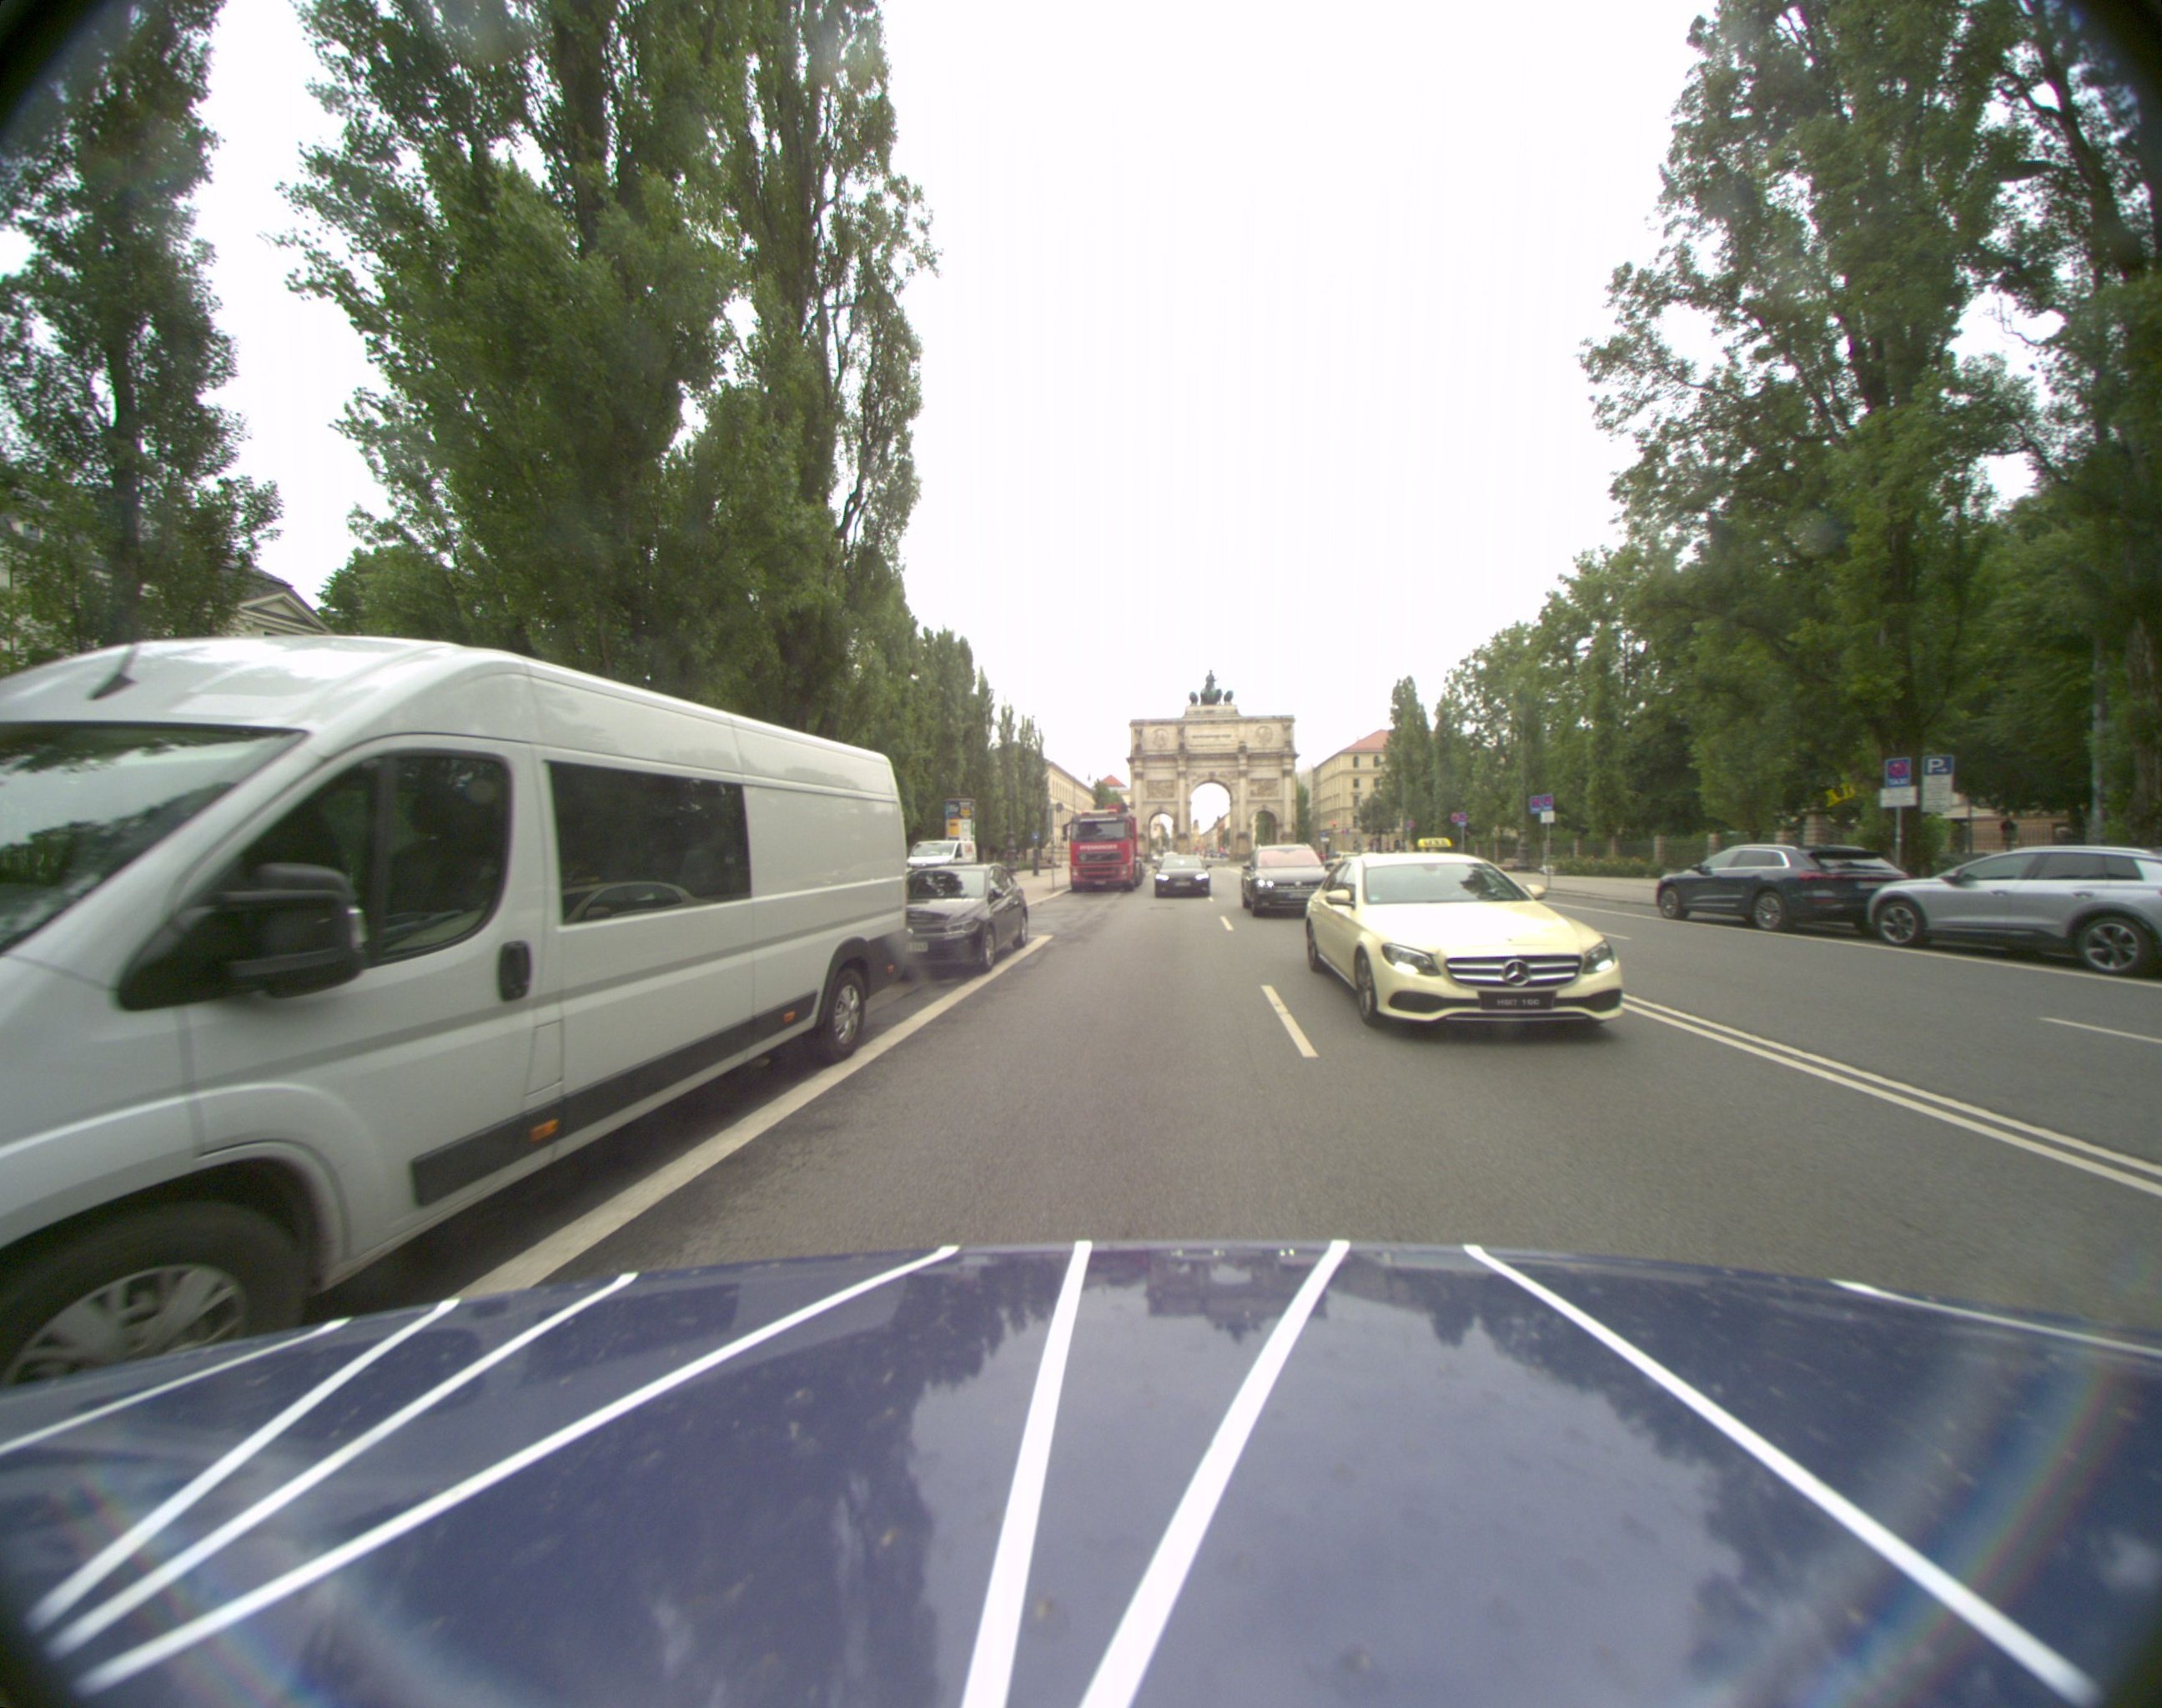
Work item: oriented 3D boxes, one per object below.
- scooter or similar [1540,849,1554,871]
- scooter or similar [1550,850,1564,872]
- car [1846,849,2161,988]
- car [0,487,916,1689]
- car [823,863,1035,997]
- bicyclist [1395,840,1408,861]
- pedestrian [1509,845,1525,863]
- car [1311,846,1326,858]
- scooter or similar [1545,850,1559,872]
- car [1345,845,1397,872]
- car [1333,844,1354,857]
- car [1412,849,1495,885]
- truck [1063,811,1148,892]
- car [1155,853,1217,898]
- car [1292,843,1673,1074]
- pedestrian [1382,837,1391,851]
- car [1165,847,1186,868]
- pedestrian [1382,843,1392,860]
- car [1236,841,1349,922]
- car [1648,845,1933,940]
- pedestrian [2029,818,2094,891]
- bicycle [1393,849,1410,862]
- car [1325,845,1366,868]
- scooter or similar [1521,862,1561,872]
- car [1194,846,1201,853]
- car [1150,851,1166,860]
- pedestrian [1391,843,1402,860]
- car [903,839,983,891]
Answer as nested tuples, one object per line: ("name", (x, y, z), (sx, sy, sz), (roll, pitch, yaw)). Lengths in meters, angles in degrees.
("scooter or similar", (26.807, 0.350, 43.725), (0.258, 1.235, 1.141), (-1, 1, 9))
("scooter or similar", (27.338, 0.390, 43.648), (0.243, 1.194, 1.123), (-1, 1, 8))
("car", (13.531, 0.730, 10.362), (1.894, 1.575, 4.656), (0, 1, 7))
("car", (-2.975, 0.476, 3.922), (2.078, 2.464, 6.286), (-2, 0, 7))
("car", (-1.946, 0.941, 11.048), (1.758, 1.441, 4.002), (-3, 0, 7))
("bicyclist", (23.688, -0.259, 56.172), (0.695, 1.489, 0.862), (0, 1, 6))
("pedestrian", (31.906, 0.010, 55.643), (0.578, 1.329, 0.839), (-1, 1, -19))
("car", (34.712, -0.299, 111.125), (1.784, 1.662, 4.003), (-1, 0, 12))
("scooter or similar", (27.077, 0.396, 43.687), (0.243, 1.194, 1.123), (-1, 1, 8))
("car", (18.296, 0.246, 48.178), (1.941, 1.615, 4.967), (0, 1, 7))
("car", (38.428, -0.559, 111.372), (2.002, 1.844, 4.993), (1, 2, 9))
("car", (16.417, 0.556, 33.746), (1.934, 1.488, 4.793), (0, 0, 8))
("truck", (1.388, -0.137, 34.373), (2.718, 3.092, 10.431), (-1, 1, 8))
("car", (3.646, 0.710, 26.905), (1.921, 1.320, 4.413), (-3, 1, 6))
("car", (3.415, 0.719, 7.629), (1.918, 1.566, 4.692), (-3, 1, 9))
("pedestrian", (43.949, -1.505, 109.334), (0.796, 2.002, 0.754), (-1, 1, -27))
("car", (8.808, 0.264, 70.558), (1.888, 1.846, 4.315), (-1, 1, 8))
("pedestrian", (30.613, -0.220, 76.053), (0.845, 1.668, 0.968), (0, 1, 14))
("car", (4.878, 0.551, 18.138), (1.952, 1.615, 4.413), (-3, 1, 8))
("car", (13.819, 0.642, 15.279), (1.785, 1.587, 4.616), (1, 1, 7))
("pedestrian", (22.953, 0.006, 17.804), (0.619, 1.650, 0.705), (-1, 1, 8))
("bicycle", (23.691, 0.131, 56.147), (0.709, 0.933, 1.736), (-1, 0, 6))
("car", (19.147, 0.128, 55.201), (1.822, 1.550, 4.861), (1, 1, 7))
("scooter or similar", (28.705, 0.806, 47.388), (2.240, 0.515, 1.329), (0, 0, -33))
("car", (36.467, -1.374, 238.691), (1.997, 2.002, 4.397), (-1, 1, 7))
("car", (15.115, 0.316, 148.945), (1.784, 1.739, 4.327), (0, 0, 24))
("pedestrian", (31.387, -0.237, 75.591), (0.845, 1.668, 0.968), (0, 1, 14))
("car", (-5.641, 0.398, 31.721), (1.884, 1.933, 4.887), (-2, 0, 6))
